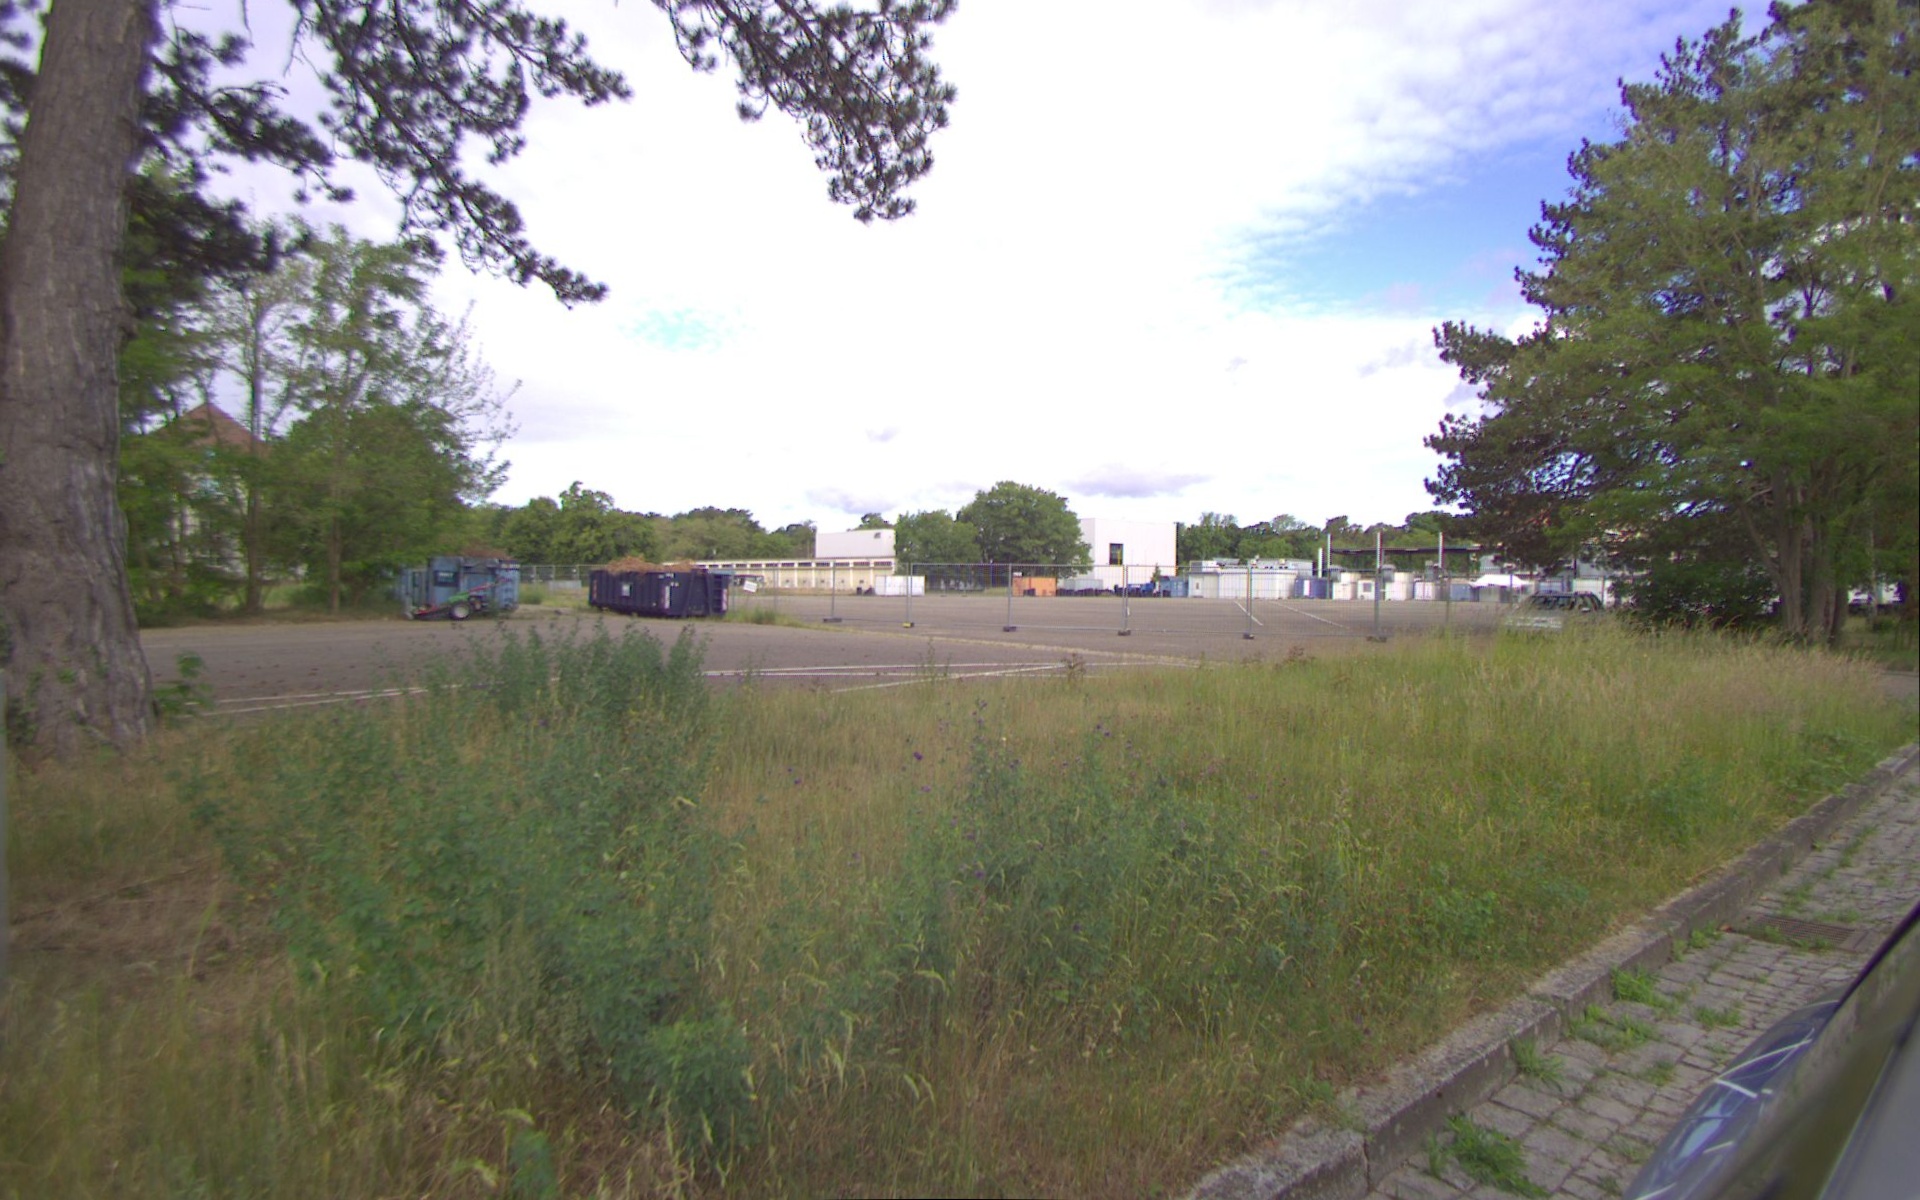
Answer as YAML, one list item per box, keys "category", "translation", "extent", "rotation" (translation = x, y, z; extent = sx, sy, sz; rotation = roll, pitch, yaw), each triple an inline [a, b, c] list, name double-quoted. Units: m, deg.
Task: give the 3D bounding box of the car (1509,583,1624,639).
- category: "car"
  translation: [17.263, 0.244, 28.734]
  extent: [4.414, 1.469, 1.676]
  rotation: [-1, 1, -43]

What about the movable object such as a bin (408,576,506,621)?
- category: "movable object such as a bin"
  translation: [-13.626, -0.046, 27.454]
  extent: [0.958, 1.149, 2.181]
  rotation: [-1, 0, 41]
